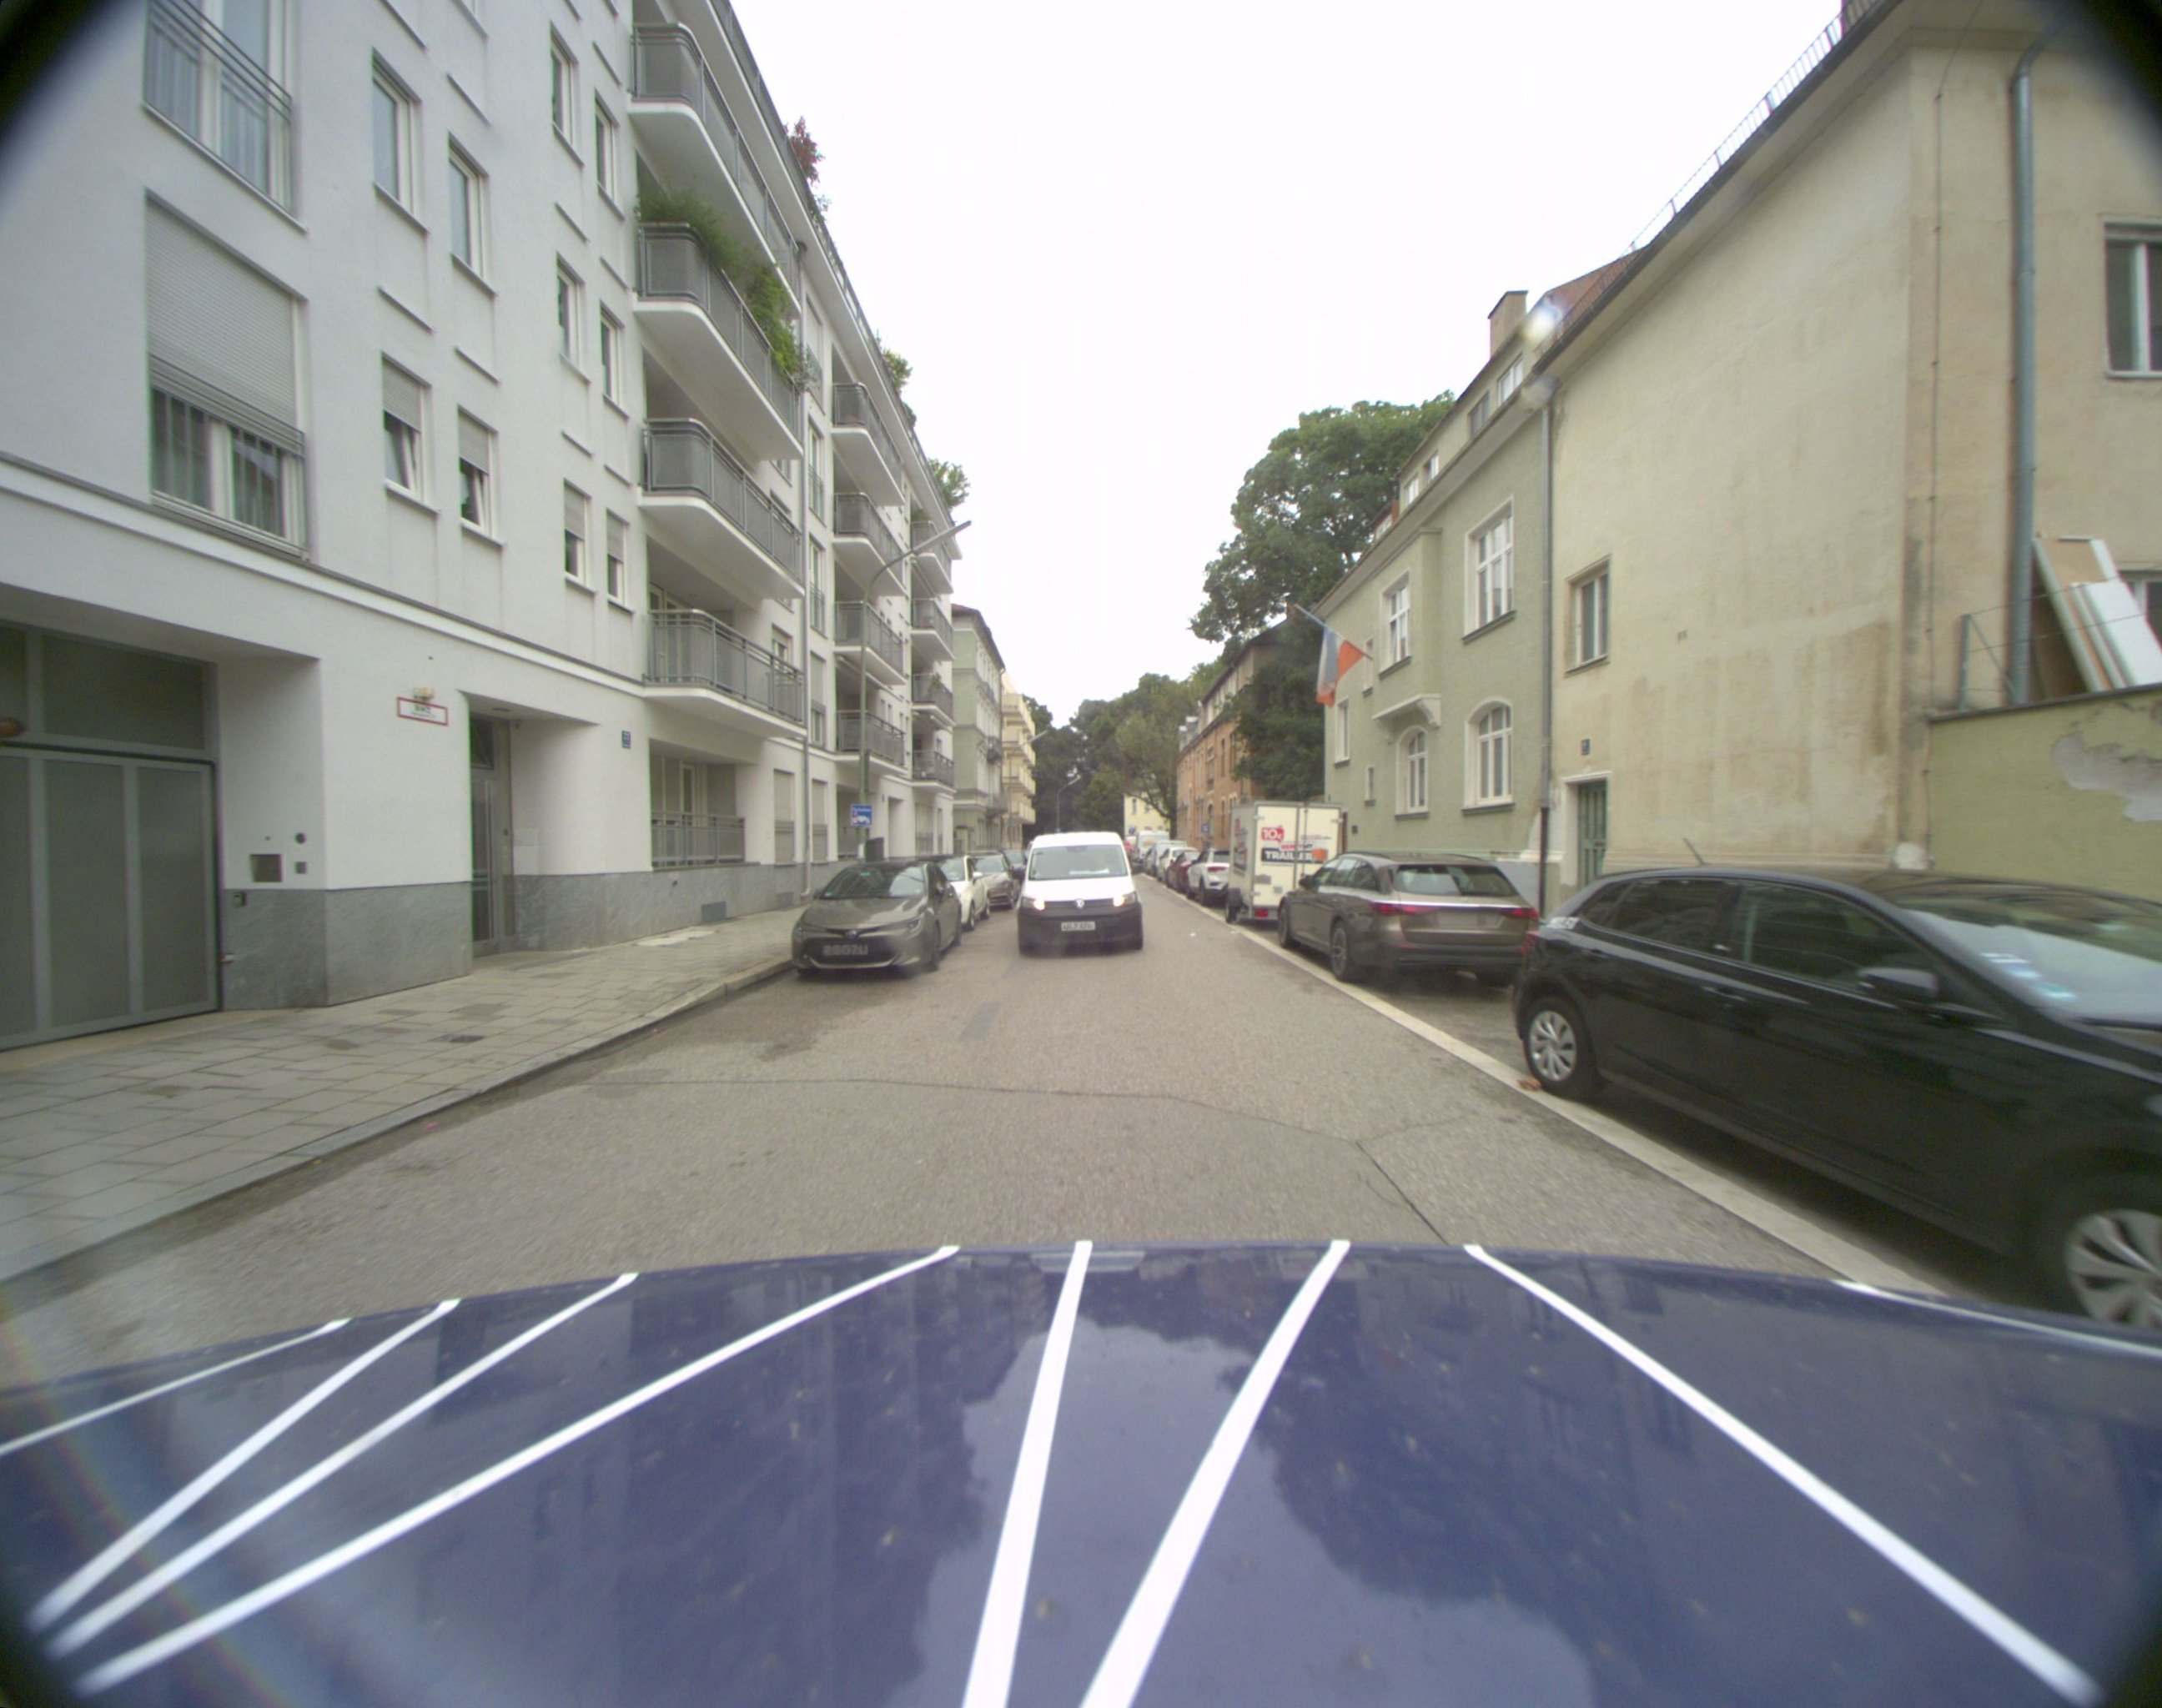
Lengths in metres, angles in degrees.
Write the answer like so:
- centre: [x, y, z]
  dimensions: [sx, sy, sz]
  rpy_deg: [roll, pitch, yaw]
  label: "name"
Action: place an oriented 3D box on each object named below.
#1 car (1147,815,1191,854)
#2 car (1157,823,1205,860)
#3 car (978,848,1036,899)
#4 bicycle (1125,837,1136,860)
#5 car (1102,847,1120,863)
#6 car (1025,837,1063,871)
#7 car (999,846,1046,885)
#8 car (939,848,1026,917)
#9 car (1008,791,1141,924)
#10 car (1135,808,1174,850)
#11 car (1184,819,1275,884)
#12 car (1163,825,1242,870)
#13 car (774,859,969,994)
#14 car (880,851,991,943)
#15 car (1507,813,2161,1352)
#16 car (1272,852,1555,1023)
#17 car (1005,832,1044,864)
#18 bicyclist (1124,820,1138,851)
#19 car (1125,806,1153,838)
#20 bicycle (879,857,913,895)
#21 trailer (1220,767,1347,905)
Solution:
- centre: [4.330, -0.954, 37.940]
  dimensions: [1.694, 1.793, 4.144]
  rpy_deg: [1, 1, -1]
  label: "car"
- centre: [4.098, -0.516, 31.568]
  dimensions: [1.477, 1.458, 3.312]
  rpy_deg: [1, 1, -1]
  label: "car"
- centre: [-2.514, 0.625, 26.661]
  dimensions: [1.608, 1.522, 3.983]
  rpy_deg: [-3, 1, -1]
  label: "car"
- centre: [2.495, -0.299, 38.550]
  dimensions: [0.505, 1.122, 1.773]
  rpy_deg: [0, 1, 3]
  label: "bicycle"
- centre: [2.752, 0.076, 69.707]
  dimensions: [1.585, 1.403, 3.612]
  rpy_deg: [0, 2, 1]
  label: "car"
- centre: [-2.252, -0.027, 47.306]
  dimensions: [1.858, 1.885, 4.591]
  rpy_deg: [-3, 1, 2]
  label: "car"
- centre: [-2.433, 0.437, 32.513]
  dimensions: [1.662, 1.432, 4.205]
  rpy_deg: [-3, 1, -1]
  label: "car"
- centre: [-2.565, 0.675, 20.759]
  dimensions: [1.738, 1.522, 4.620]
  rpy_deg: [-3, 1, -1]
  label: "car"
- centre: [-0.021, 0.009, 12.152]
  dimensions: [1.776, 1.762, 3.999]
  rpy_deg: [0, 1, 2]
  label: "car"
- centre: [4.632, -1.568, 48.409]
  dimensions: [1.986, 2.464, 5.222]
  rpy_deg: [1, 1, 1]
  label: "car"
- centre: [3.950, -0.140, 20.841]
  dimensions: [1.691, 1.594, 3.919]
  rpy_deg: [1, 2, 0]
  label: "car"
- centre: [4.099, -0.269, 26.275]
  dimensions: [1.866, 1.405, 4.331]
  rpy_deg: [1, 2, -2]
  label: "car"
- centre: [-2.730, 0.857, 10.880]
  dimensions: [1.768, 1.400, 4.076]
  rpy_deg: [-1, 2, -2]
  label: "car"
- centre: [-2.806, 0.772, 15.341]
  dimensions: [1.523, 1.522, 3.525]
  rpy_deg: [-2, 1, 0]
  label: "car"
- centre: [3.694, 0.583, 3.062]
  dimensions: [1.705, 1.437, 3.823]
  rpy_deg: [0, 1, -2]
  label: "car"
- centre: [3.787, 0.802, 9.655]
  dimensions: [1.770, 1.529, 4.540]
  rpy_deg: [1, 2, 3]
  label: "car"
- centre: [-2.714, -0.310, 37.029]
  dimensions: [1.623, 1.404, 3.552]
  rpy_deg: [-3, 2, -1]
  label: "car"
- centre: [2.520, -0.925, 38.706]
  dimensions: [0.695, 1.553, 0.966]
  rpy_deg: [0, 1, 3]
  label: "bicyclist"
- centre: [4.884, -2.664, 64.454]
  dimensions: [2.118, 2.525, 4.421]
  rpy_deg: [2, 1, 1]
  label: "car"
- centre: [-6.046, 0.699, 24.914]
  dimensions: [0.629, 1.153, 2.126]
  rpy_deg: [-1, 1, -2]
  label: "bicycle"
- centre: [4.041, -0.367, 15.870]
  dimensions: [1.713, 2.448, 4.387]
  rpy_deg: [1, 1, 4]
  label: "trailer"
